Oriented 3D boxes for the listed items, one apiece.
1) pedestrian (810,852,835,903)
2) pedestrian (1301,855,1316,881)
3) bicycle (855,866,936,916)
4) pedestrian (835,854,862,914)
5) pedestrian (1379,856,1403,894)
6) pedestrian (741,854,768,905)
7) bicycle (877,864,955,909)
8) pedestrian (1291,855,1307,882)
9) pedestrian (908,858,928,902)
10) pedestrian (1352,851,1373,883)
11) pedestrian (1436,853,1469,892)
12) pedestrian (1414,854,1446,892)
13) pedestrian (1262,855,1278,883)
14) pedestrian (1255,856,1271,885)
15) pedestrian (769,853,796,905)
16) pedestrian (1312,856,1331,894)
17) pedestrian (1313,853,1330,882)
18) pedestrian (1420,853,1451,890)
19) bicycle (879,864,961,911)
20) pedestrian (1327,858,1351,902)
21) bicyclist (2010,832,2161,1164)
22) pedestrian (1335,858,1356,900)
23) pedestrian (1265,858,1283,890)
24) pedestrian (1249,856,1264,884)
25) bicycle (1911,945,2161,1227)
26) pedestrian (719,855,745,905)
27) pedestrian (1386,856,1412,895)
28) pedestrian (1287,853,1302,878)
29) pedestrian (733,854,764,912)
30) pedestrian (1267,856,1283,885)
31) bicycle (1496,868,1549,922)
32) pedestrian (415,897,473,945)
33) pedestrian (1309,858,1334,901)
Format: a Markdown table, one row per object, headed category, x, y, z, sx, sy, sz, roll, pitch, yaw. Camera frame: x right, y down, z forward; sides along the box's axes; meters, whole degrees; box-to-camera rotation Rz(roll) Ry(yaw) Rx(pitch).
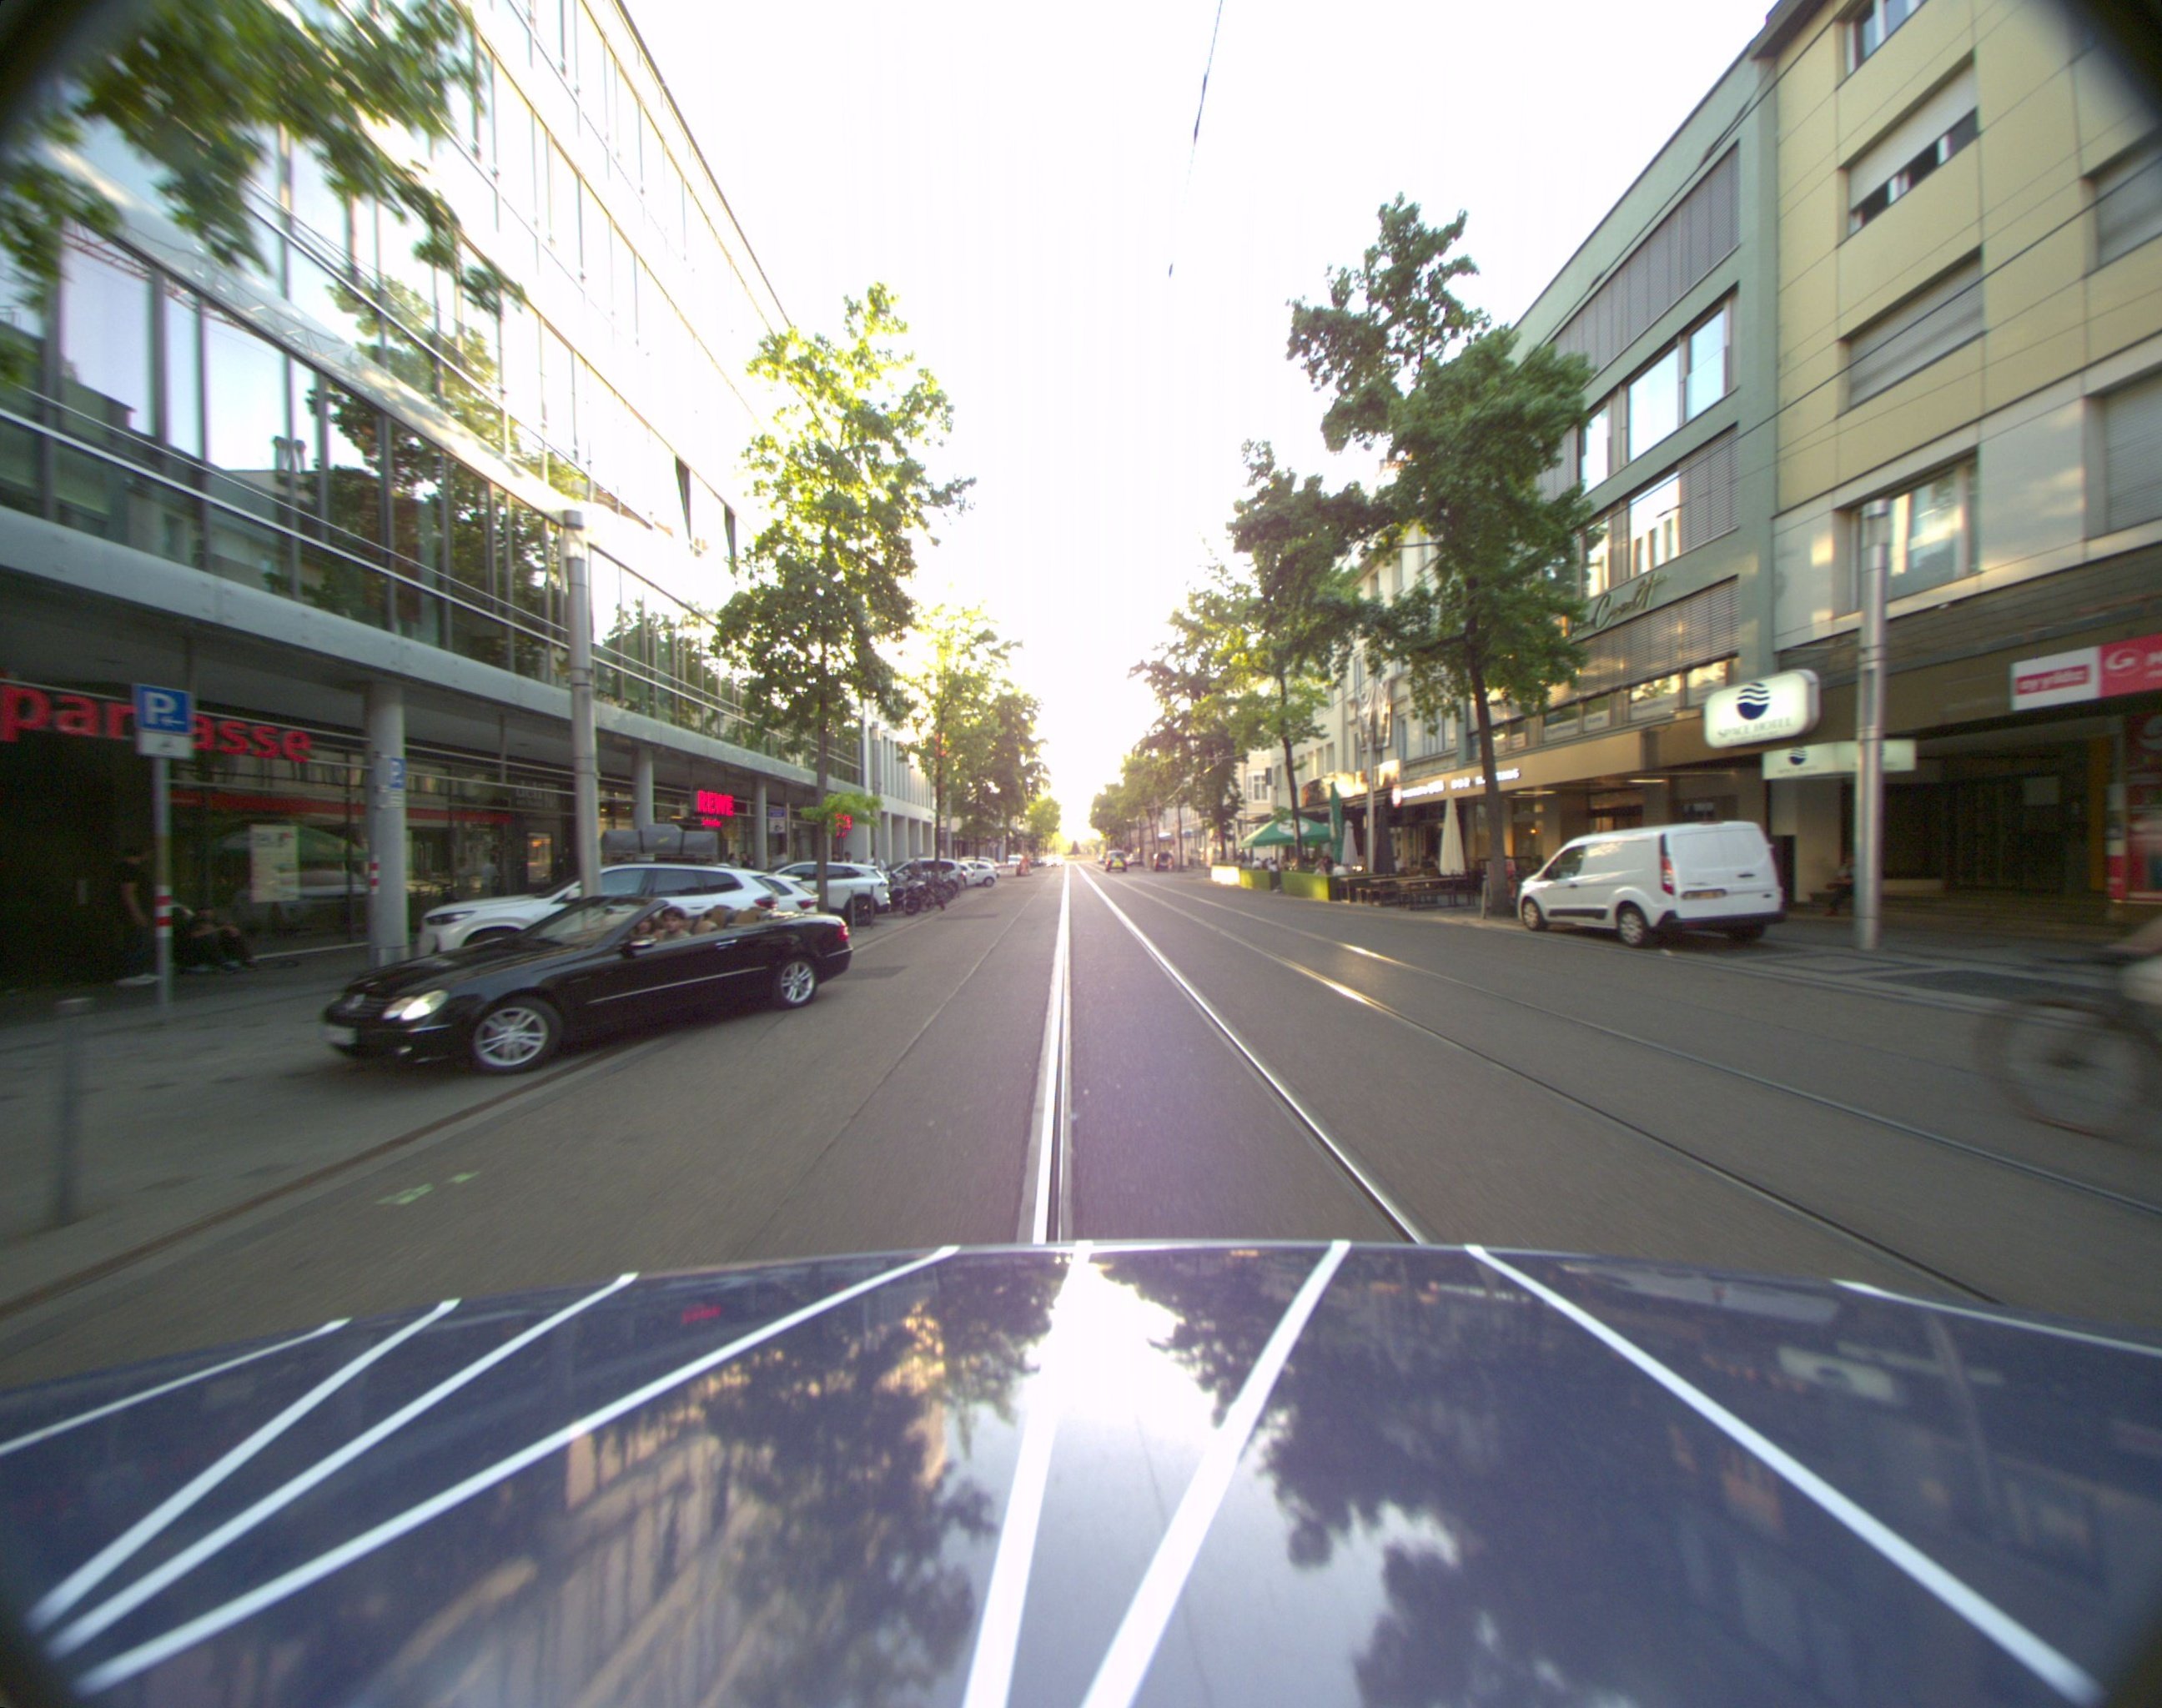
| category | x | y | z | sx | sy | sz | roll | pitch | yaw |
| --- | --- | --- | --- | --- | --- | --- | --- | --- | --- |
| pedestrian | -8.716 | 0.779 | 25.647 | 0.618 | 1.681 | 0.628 | 0 | 1 | 0 |
| pedestrian | 12.887 | 0.794 | 43.053 | 0.650 | 1.451 | 0.650 | -1 | 1 | -3 |
| bicycle | -6.192 | 1.215 | 25.413 | 2.492 | 1.448 | 0.656 | -4 | 1 | -26 |
| pedestrian | -7.013 | 0.900 | 22.962 | 0.618 | 1.789 | 0.628 | 0 | 1 | 0 |
| pedestrian | 12.173 | 0.805 | 29.832 | 0.650 | 1.451 | 0.650 | -1 | 1 | -2 |
| pedestrian | -11.091 | 0.852 | 25.827 | 0.618 | 1.681 | 0.628 | 0 | 1 | 0 |
| bicycle | -6.138 | 1.178 | 28.318 | 2.677 | 1.448 | 0.675 | -4 | 1 | -27 |
| pedestrian | 12.313 | 0.813 | 42.971 | 0.650 | 1.451 | 0.650 | -1 | 1 | -3 |
| pedestrian | -6.285 | 1.003 | 29.336 | 0.618 | 1.681 | 0.628 | -1 | 1 | -5 |
| pedestrian | 12.777 | 0.590 | 34.479 | 0.650 | 1.451 | 0.650 | -1 | 1 | -3 |
| pedestrian | 12.845 | 0.626 | 26.303 | 0.701 | 1.308 | 0.786 | -1 | 1 | -5 |
| pedestrian | 12.089 | 0.650 | 26.333 | 0.701 | 1.308 | 0.786 | -1 | 1 | -5 |
| pedestrian | 9.459 | 0.763 | 38.077 | 0.649 | 1.378 | 0.650 | -1 | 1 | 6 |
| pedestrian | 8.818 | 0.797 | 36.889 | 0.649 | 1.378 | 0.650 | -1 | 1 | 6 |
| pedestrian | -9.950 | 0.822 | 25.359 | 0.618 | 1.681 | 0.628 | 0 | 1 | 0 |
| pedestrian | 9.392 | 0.822 | 29.672 | 0.649 | 1.451 | 0.651 | -1 | 1 | 13 |
| pedestrian | 12.349 | 0.693 | 38.989 | 0.650 | 1.451 | 0.650 | -1 | 1 | -3 |
| pedestrian | 12.703 | 0.620 | 27.262 | 0.701 | 1.308 | 0.786 | -1 | 1 | -5 |
| bicycle | -5.751 | 1.178 | 27.215 | 2.677 | 1.448 | 0.728 | -4 | 1 | -27 |
| pedestrian | 8.740 | 0.886 | 25.763 | 0.648 | 1.451 | 0.651 | -1 | 1 | 29 |
| bicyclist | 4.990 | 0.610 | 3.299 | 0.760 | 1.406 | 0.897 | -3 | 0 | 3 |
| pedestrian | 9.242 | 0.862 | 26.552 | 0.649 | 1.451 | 0.651 | -1 | 1 | 17 |
| pedestrian | 8.391 | 0.854 | 32.994 | 0.649 | 1.378 | 0.650 | -1 | 1 | 6 |
| pedestrian | 8.809 | 0.784 | 38.130 | 0.649 | 1.378 | 0.650 | -1 | 1 | 6 |
| bicycle | 5.014 | 1.062 | 3.332 | 0.732 | 1.067 | 1.866 | -3 | 0 | 3 |
| pedestrian | -11.861 | 0.877 | 25.826 | 0.558 | 1.681 | 0.628 | 0 | 1 | 0 |
| pedestrian | 12.089 | 0.818 | 28.875 | 0.650 | 1.451 | 0.649 | -1 | 1 | -9 |
| pedestrian | 12.323 | 0.661 | 43.904 | 0.650 | 1.451 | 0.650 | -1 | 1 | -3 |
| pedestrian | -9.853 | 0.850 | 22.553 | 0.618 | 1.681 | 0.628 | 0 | 1 | 0 |
| pedestrian | 9.411 | 0.778 | 36.865 | 0.649 | 1.378 | 0.650 | -1 | 1 | 6 |
| bicycle | 9.851 | 0.891 | 16.930 | 1.804 | 1.101 | 0.499 | -1 | 1 | -43 |
| pedestrian | -12.282 | 1.288 | 14.664 | 0.627 | 0.876 | 0.558 | 0 | 1 | -1 |
| pedestrian | 8.445 | 0.885 | 26.701 | 0.649 | 1.451 | 0.650 | -1 | 1 | 0 |
